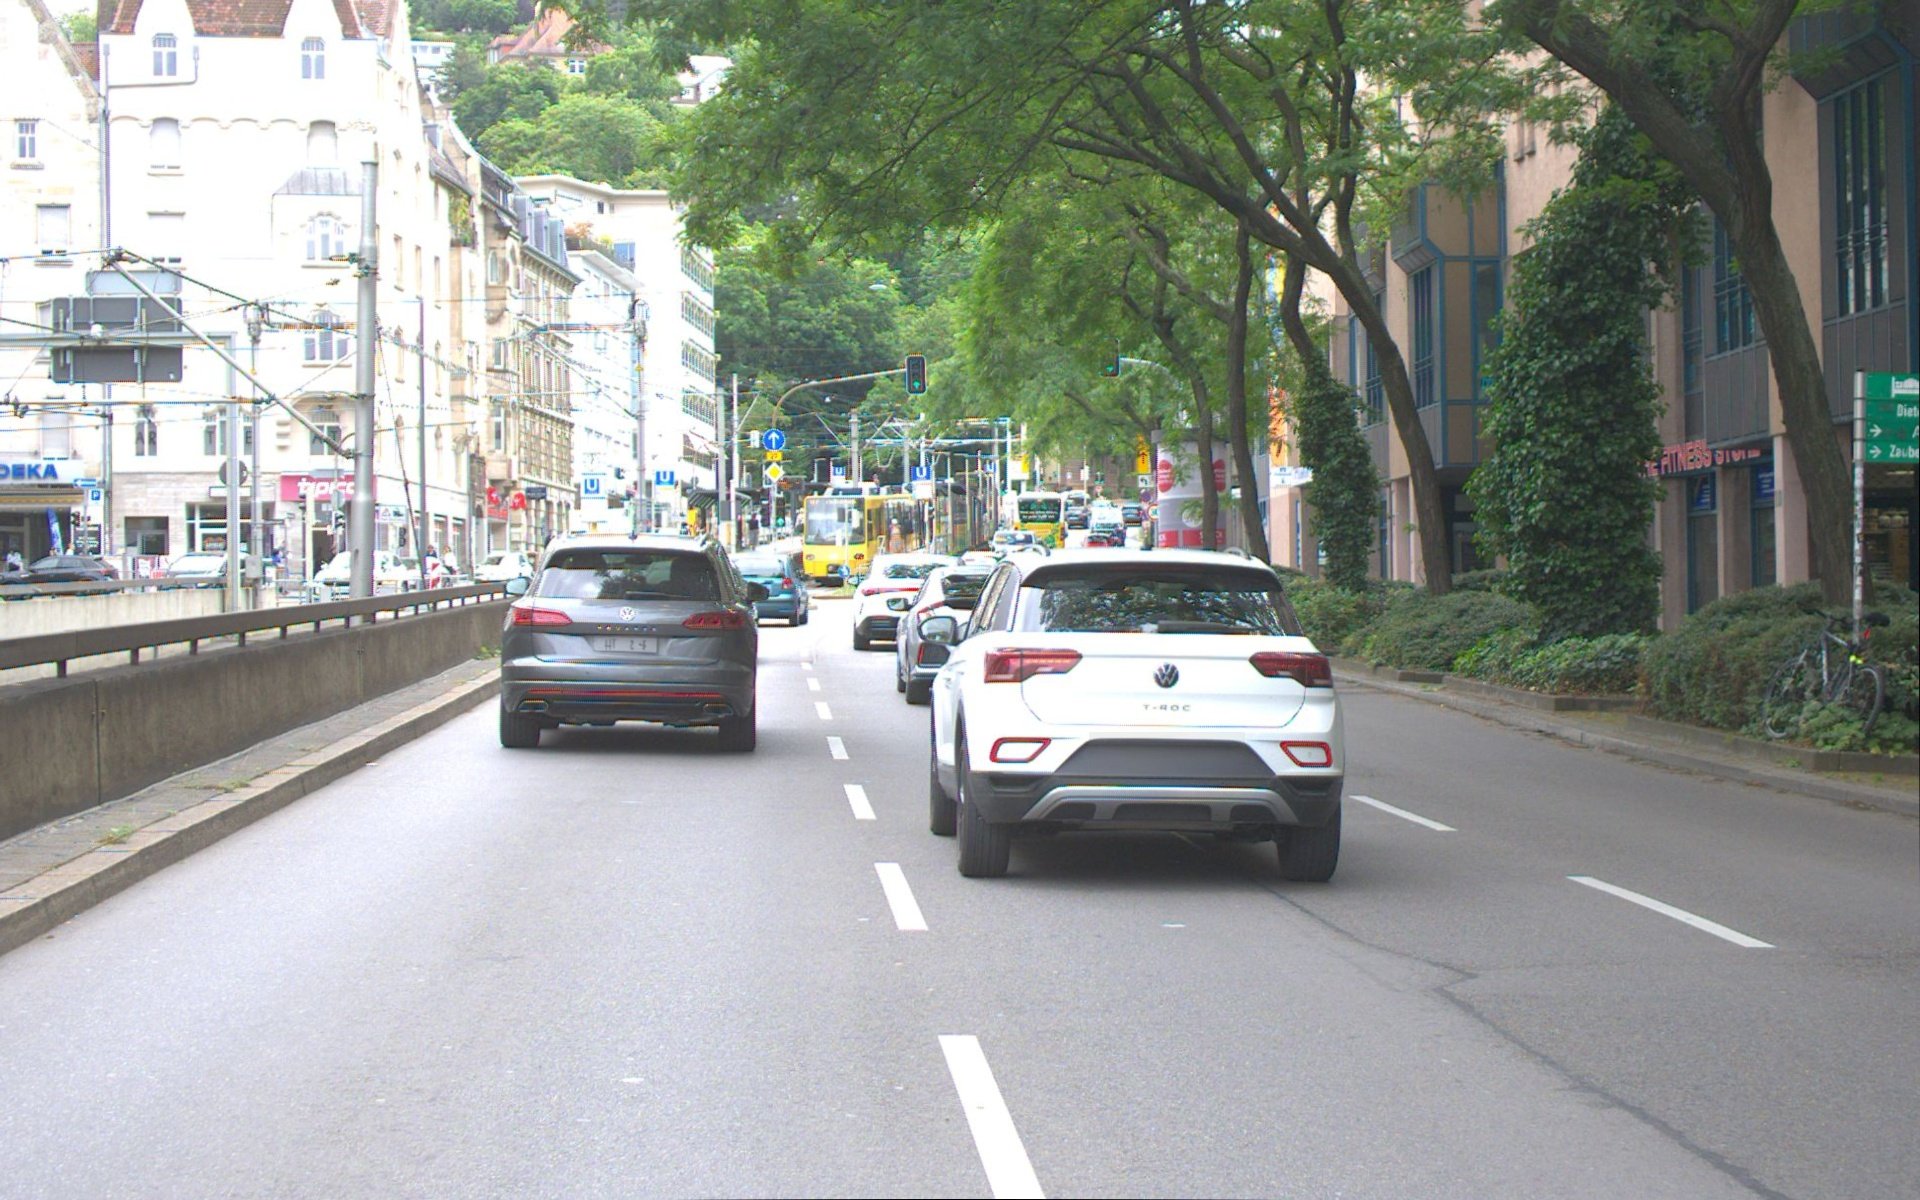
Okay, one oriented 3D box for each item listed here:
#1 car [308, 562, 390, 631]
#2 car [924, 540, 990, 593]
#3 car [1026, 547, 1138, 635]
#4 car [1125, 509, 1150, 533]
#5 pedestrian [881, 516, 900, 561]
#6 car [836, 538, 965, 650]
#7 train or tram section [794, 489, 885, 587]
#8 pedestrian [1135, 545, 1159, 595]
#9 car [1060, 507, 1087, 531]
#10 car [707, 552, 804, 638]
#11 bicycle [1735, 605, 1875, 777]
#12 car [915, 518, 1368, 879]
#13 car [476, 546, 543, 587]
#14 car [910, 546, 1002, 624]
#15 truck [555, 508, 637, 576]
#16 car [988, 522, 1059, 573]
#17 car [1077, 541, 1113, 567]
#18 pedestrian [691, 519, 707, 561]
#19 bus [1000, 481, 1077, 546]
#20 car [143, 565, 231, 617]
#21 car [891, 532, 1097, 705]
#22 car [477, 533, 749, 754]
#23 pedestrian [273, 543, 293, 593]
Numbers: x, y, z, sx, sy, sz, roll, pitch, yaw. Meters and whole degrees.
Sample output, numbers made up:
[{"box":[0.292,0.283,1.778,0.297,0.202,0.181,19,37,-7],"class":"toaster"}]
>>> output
[{"box":[-17.634,-0.112,99.339,1.833,1.836,4.606,3,0,-5],"class":"car"},{"box":[-0.087,-1.111,114.231,1.885,1.678,4.160,1,0,4],"class":"car"},{"box":[2.888,-0.237,82.451,2.364,2.007,5.148,1,0,-1],"class":"car"},{"box":[12.084,-5.354,234.024,1.673,1.555,3.678,1,0,4],"class":"car"},{"box":[-2.616,-2.312,129.685,0.685,1.705,0.712,0,1,4],"class":"pedestrian"},{"box":[-0.979,-0.103,54.578,1.884,1.678,4.162,1,0,-3],"class":"car"},{"box":[-4.607,-2.409,132.396,2.835,3.666,5.751,1,1,4],"class":"train or tram section"},{"box":[6.739,-1.086,123.973,0.693,1.771,0.689,-5,1,0],"class":"pedestrian"},{"box":[7.546,-5.387,228.632,1.673,1.555,3.678,1,0,4],"class":"car"},{"box":[-4.158,-0.123,70.164,1.884,1.678,4.162,1,0,-3],"class":"car"},{"box":[6.191,0.650,25.240,0.361,1.197,1.571,-1,1,-11],"class":"bicycle"},{"box":[0.780,0.422,17.333,1.837,1.578,4.157,1,0,-3],"class":"car"},{"box":[-17.681,-1.309,135.116,1.749,1.555,4.513,1,0,4],"class":"car"},{"box":[-0.144,-0.411,92.650,2.364,2.007,5.148,1,0,-1],"class":"car"},{"box":[-16.777,-2.647,158.990,2.267,3.066,7.373,1,0,6],"class":"truck"},{"box":[2.635,-2.145,141.051,2.365,2.007,5.147,1,0,7],"class":"car"},{"box":[6.326,-2.151,161.086,1.582,1.168,3.678,1,0,4],"class":"car"},{"box":[-10.588,-2.435,139.647,0.635,1.705,0.690,0,1,-5],"class":"pedestrian"},{"box":[4.109,-4.380,176.773,3.372,3.054,13.323,1,0,3],"class":"bus"},{"box":[-22.955,-0.280,102.184,1.664,1.496,4.413,0,1,-1],"class":"car"},{"box":[0.297,0.171,35.998,1.884,1.678,4.162,1,0,-3],"class":"car"},{"box":[-2.683,0.292,27.403,1.993,1.630,4.001,0,1,-3],"class":"car"},{"box":[-24.083,-1.129,122.300,0.575,1.774,0.511,0,1,9],"class":"pedestrian"}]
